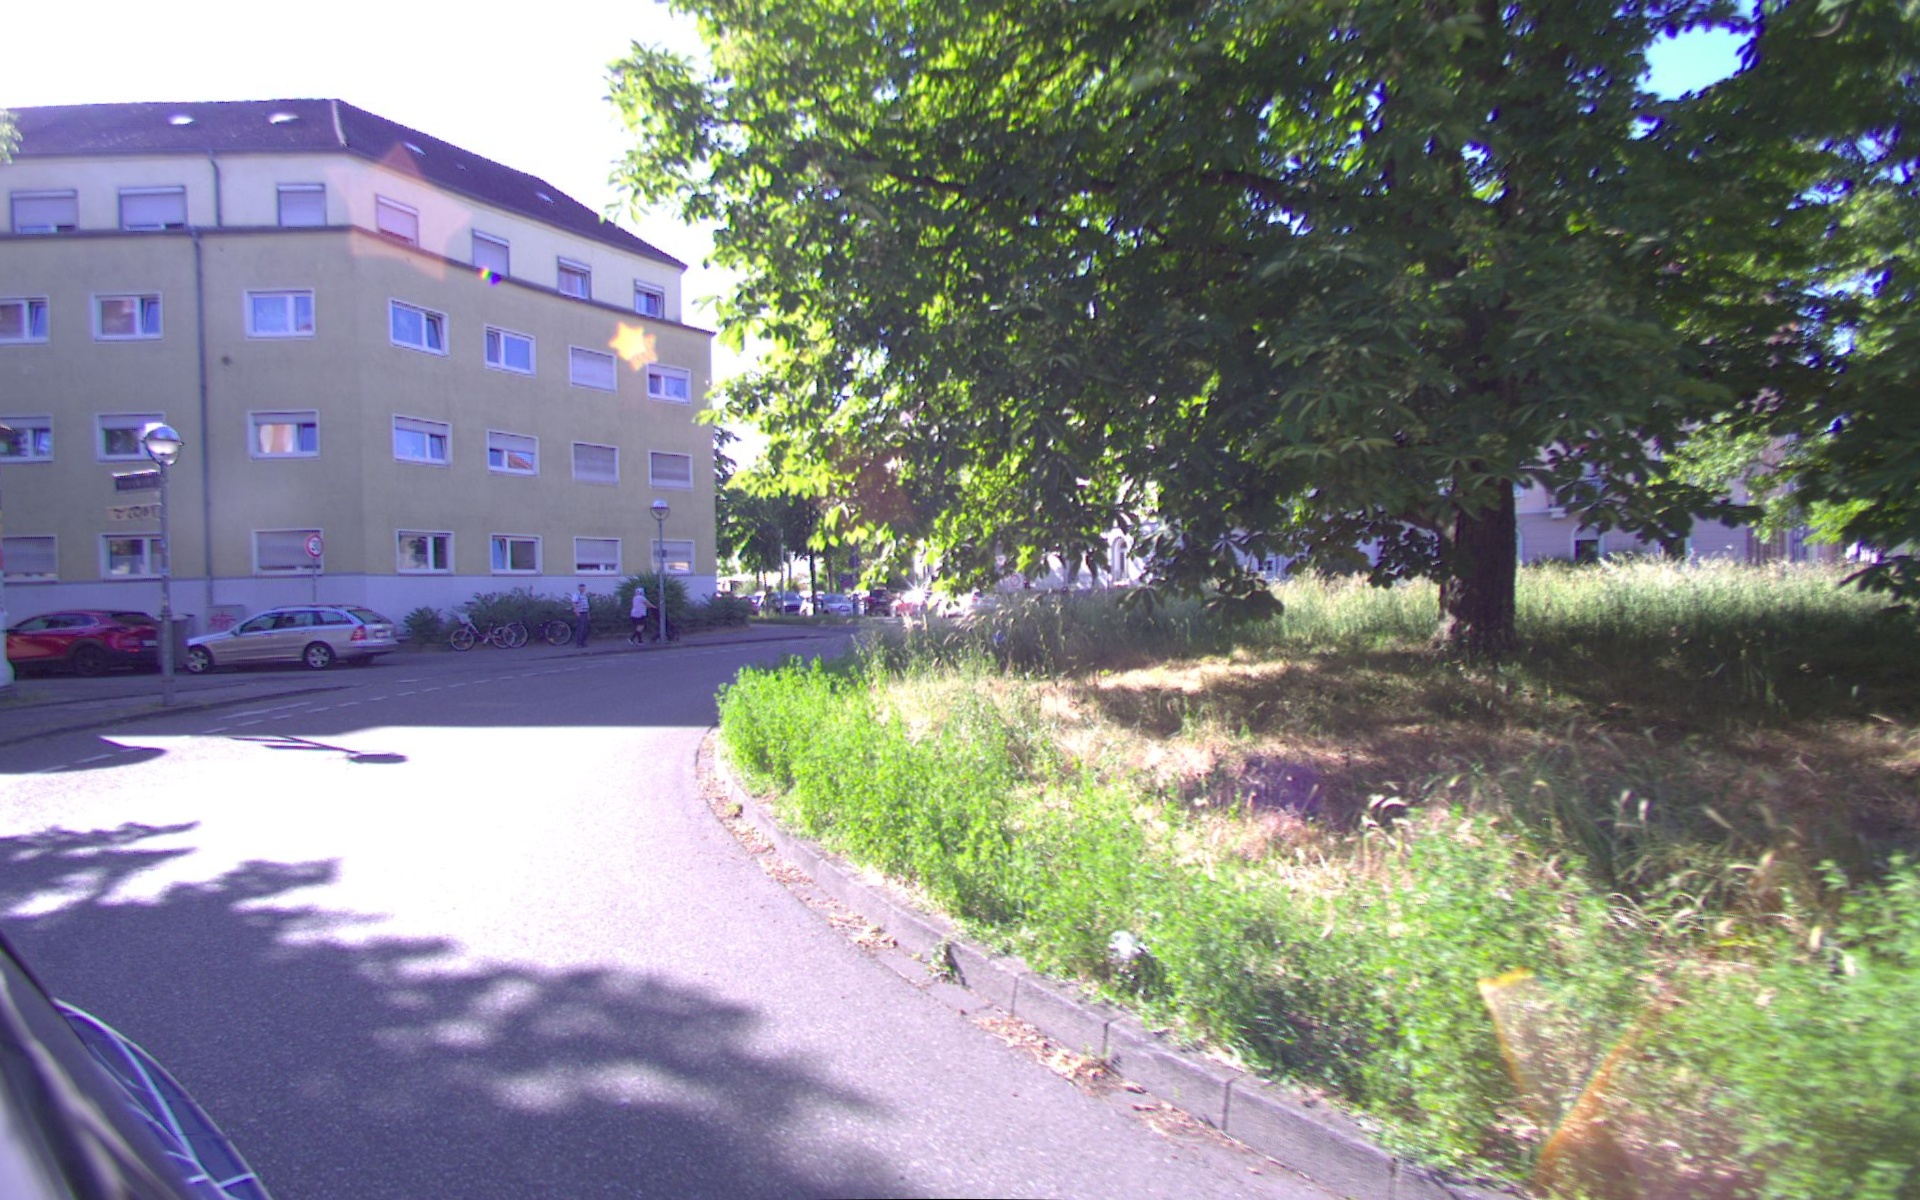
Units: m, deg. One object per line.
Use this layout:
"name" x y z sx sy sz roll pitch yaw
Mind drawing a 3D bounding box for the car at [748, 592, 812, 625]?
"car" -9.341 0.473 52.405 1.770 1.587 4.011 -3 0 -34

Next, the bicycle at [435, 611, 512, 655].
"bicycle" -13.046 0.870 27.161 1.770 1.116 0.501 -2 0 -11

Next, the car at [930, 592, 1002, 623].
"car" 0.257 0.377 50.238 1.769 1.423 4.012 -2 0 -30

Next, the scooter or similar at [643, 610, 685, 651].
"scooter or similar" -8.173 0.834 27.906 0.884 1.030 0.920 -2 2 -29

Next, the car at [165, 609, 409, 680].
"car" -15.341 0.988 23.240 4.425 1.422 1.733 -2 0 -1

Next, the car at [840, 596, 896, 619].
"car" -5.452 0.479 59.814 1.770 1.265 3.729 -2 0 -32

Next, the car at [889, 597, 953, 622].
"car" -2.117 0.515 53.939 1.770 1.265 3.729 -2 0 -32

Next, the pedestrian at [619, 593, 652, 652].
"pedestrian" -8.757 0.599 27.323 0.685 1.535 0.652 -2 0 -30

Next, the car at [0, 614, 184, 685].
"car" -20.569 1.123 23.125 4.325 1.450 1.736 -2 0 -1

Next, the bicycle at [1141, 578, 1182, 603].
"bicycle" 9.431 -0.428 47.339 1.787 1.116 0.496 -2 0 21

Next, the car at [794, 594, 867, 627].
"car" -6.087 0.512 47.218 1.774 1.422 4.011 -3 0 -34

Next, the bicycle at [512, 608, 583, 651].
"bicycle" -11.416 0.810 28.004 1.769 1.116 0.502 -2 0 -26

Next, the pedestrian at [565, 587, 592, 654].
"pedestrian" -10.119 0.536 26.841 0.598 1.705 0.556 -2 4 -21
